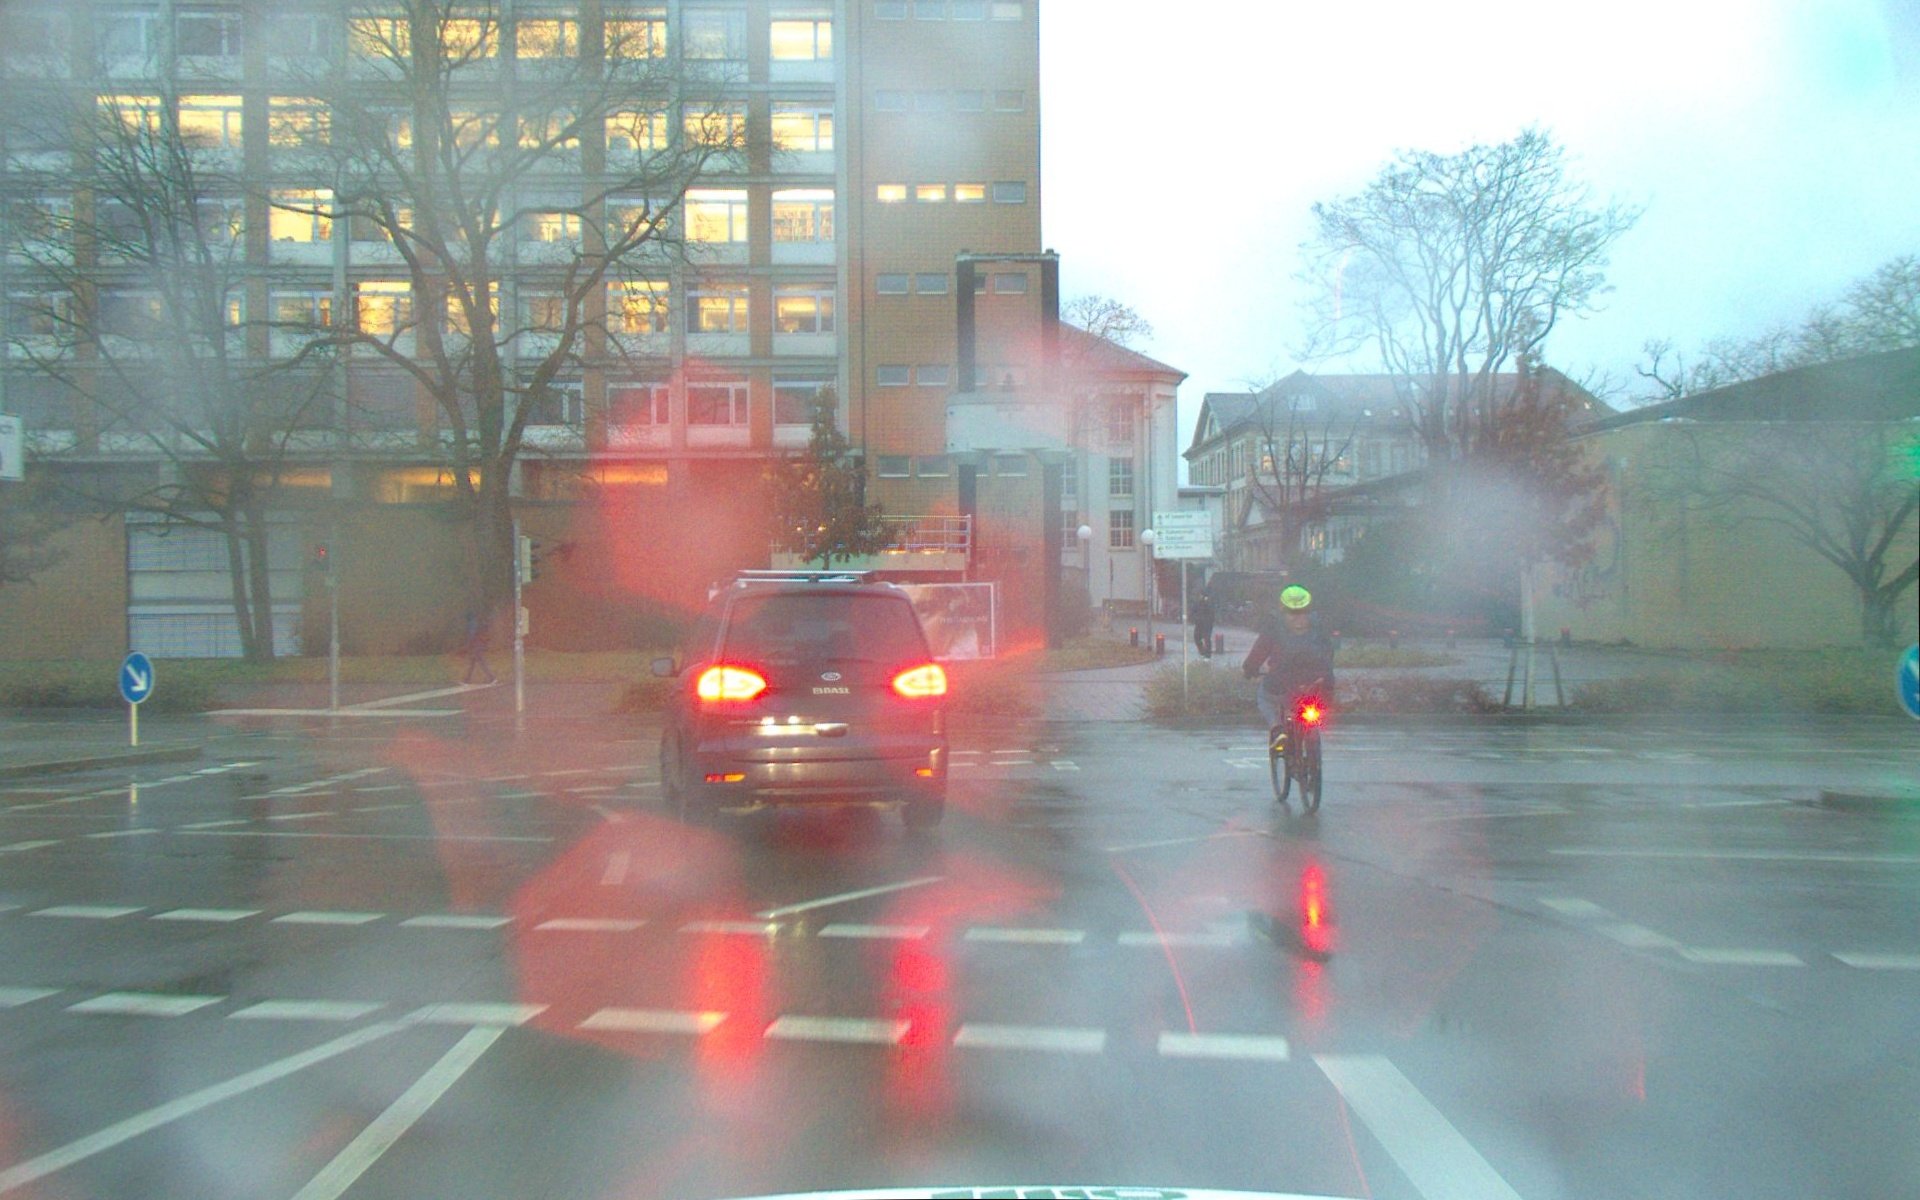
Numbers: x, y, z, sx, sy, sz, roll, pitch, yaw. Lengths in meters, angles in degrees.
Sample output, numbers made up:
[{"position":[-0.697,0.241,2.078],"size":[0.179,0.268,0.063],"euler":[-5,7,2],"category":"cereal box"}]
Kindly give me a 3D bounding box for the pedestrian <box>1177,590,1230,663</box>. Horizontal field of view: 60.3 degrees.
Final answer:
[{"position":[5.934,0.627,40.331],"size":[0.918,1.717,0.900],"euler":[-1,2,-38],"category":"pedestrian"}]

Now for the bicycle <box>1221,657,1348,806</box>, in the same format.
[{"position":[2.505,0.982,12.962],"size":[0.550,0.963,2.095],"euler":[-1,1,-1],"category":"bicycle"}]

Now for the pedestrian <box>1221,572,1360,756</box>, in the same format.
[{"position":[2.505,0.469,12.629],"size":[0.857,1.339,0.848],"euler":[-1,0,-1],"category":"pedestrian"}]

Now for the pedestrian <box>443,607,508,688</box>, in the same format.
[{"position":[-10.681,1.048,36.509],"size":[1.044,1.717,0.810],"euler":[-1,1,20],"category":"pedestrian"}]

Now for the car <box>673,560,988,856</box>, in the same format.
[{"position":[-1.170,0.696,12.608],"size":[1.747,1.832,4.409],"euler":[0,-1,-13],"category":"car"}]
